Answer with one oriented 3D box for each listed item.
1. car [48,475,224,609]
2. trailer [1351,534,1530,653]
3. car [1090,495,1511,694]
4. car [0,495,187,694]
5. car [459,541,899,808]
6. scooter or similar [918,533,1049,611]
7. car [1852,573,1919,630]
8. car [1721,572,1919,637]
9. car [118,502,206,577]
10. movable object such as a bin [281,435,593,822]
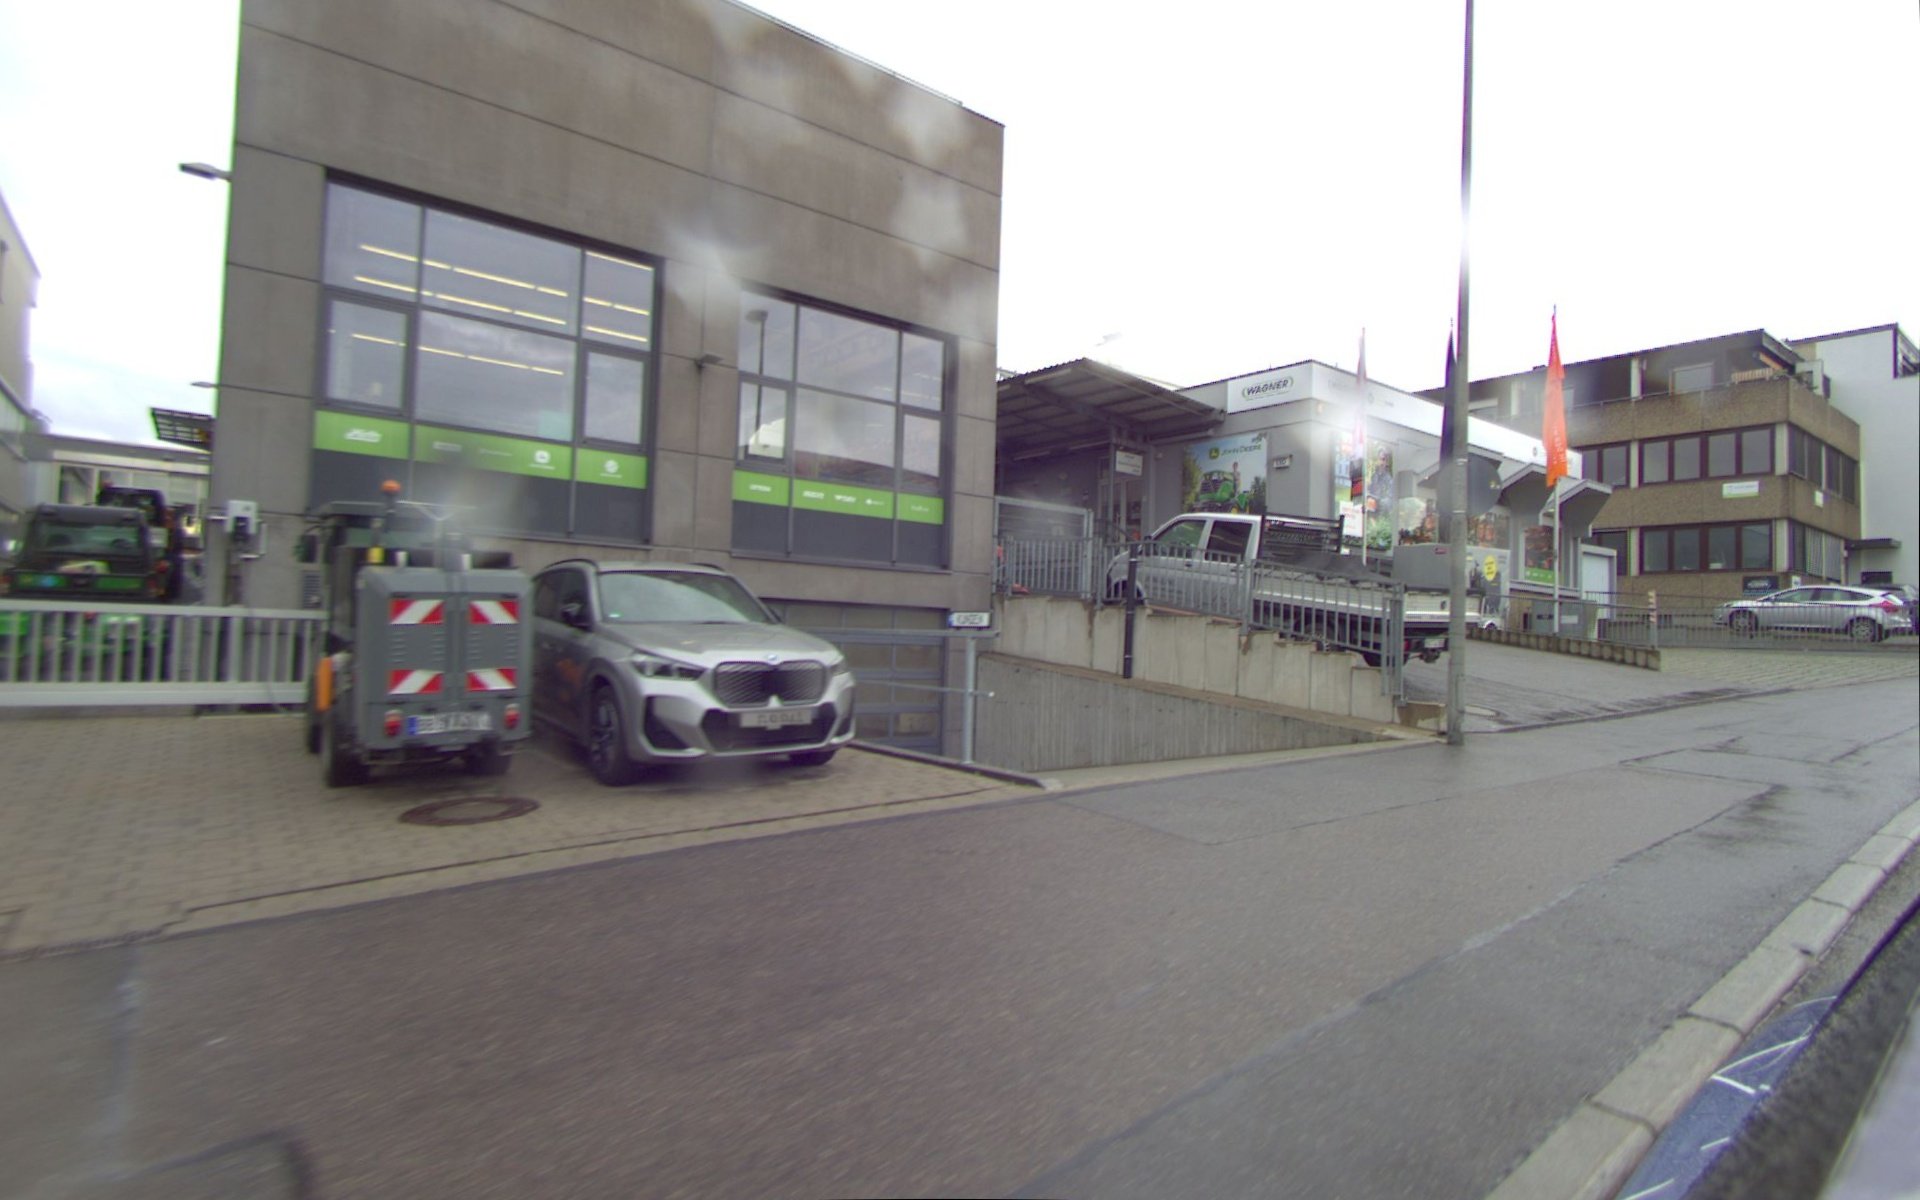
[{"bbox_3d":[-16.497,-1.242,20.626,1.957,2.282,6.812,-1,4,-32],"label":"car"},{"bbox_3d":[10.889,-0.115,22.847,4.227,2.447,1.892,1,-1,-37],"label":"trailer"},{"bbox_3d":[4.544,-0.291,14.491,2.180,2.036,5.323,-1,8,-35],"label":"car"},{"bbox_3d":[-10.486,-0.195,12.065,1.864,1.874,4.907,5,2,-38],"label":"car"},{"bbox_3d":[-2.754,0.428,8.808,1.890,1.634,5.104,0,0,-38],"label":"car"},{"bbox_3d":[0.428,-0.491,17.887,2.025,1.239,1.068,2,2,-35],"label":"scooter or similar"},{"bbox_3d":[31.443,0.007,33.760,4.392,1.772,1.753,-1,1,-38],"label":"car"},{"bbox_3d":[24.043,0.060,28.226,1.967,1.593,4.132,-1,3,-38],"label":"car"},{"bbox_3d":[-26.459,-2.058,33.621,2.122,2.282,5.107,-1,5,-38],"label":"car"},{"bbox_3d":[-4.194,0.130,7.738,1.449,2.137,4.266,0,1,-37],"label":"movable object such as a bin"}]
